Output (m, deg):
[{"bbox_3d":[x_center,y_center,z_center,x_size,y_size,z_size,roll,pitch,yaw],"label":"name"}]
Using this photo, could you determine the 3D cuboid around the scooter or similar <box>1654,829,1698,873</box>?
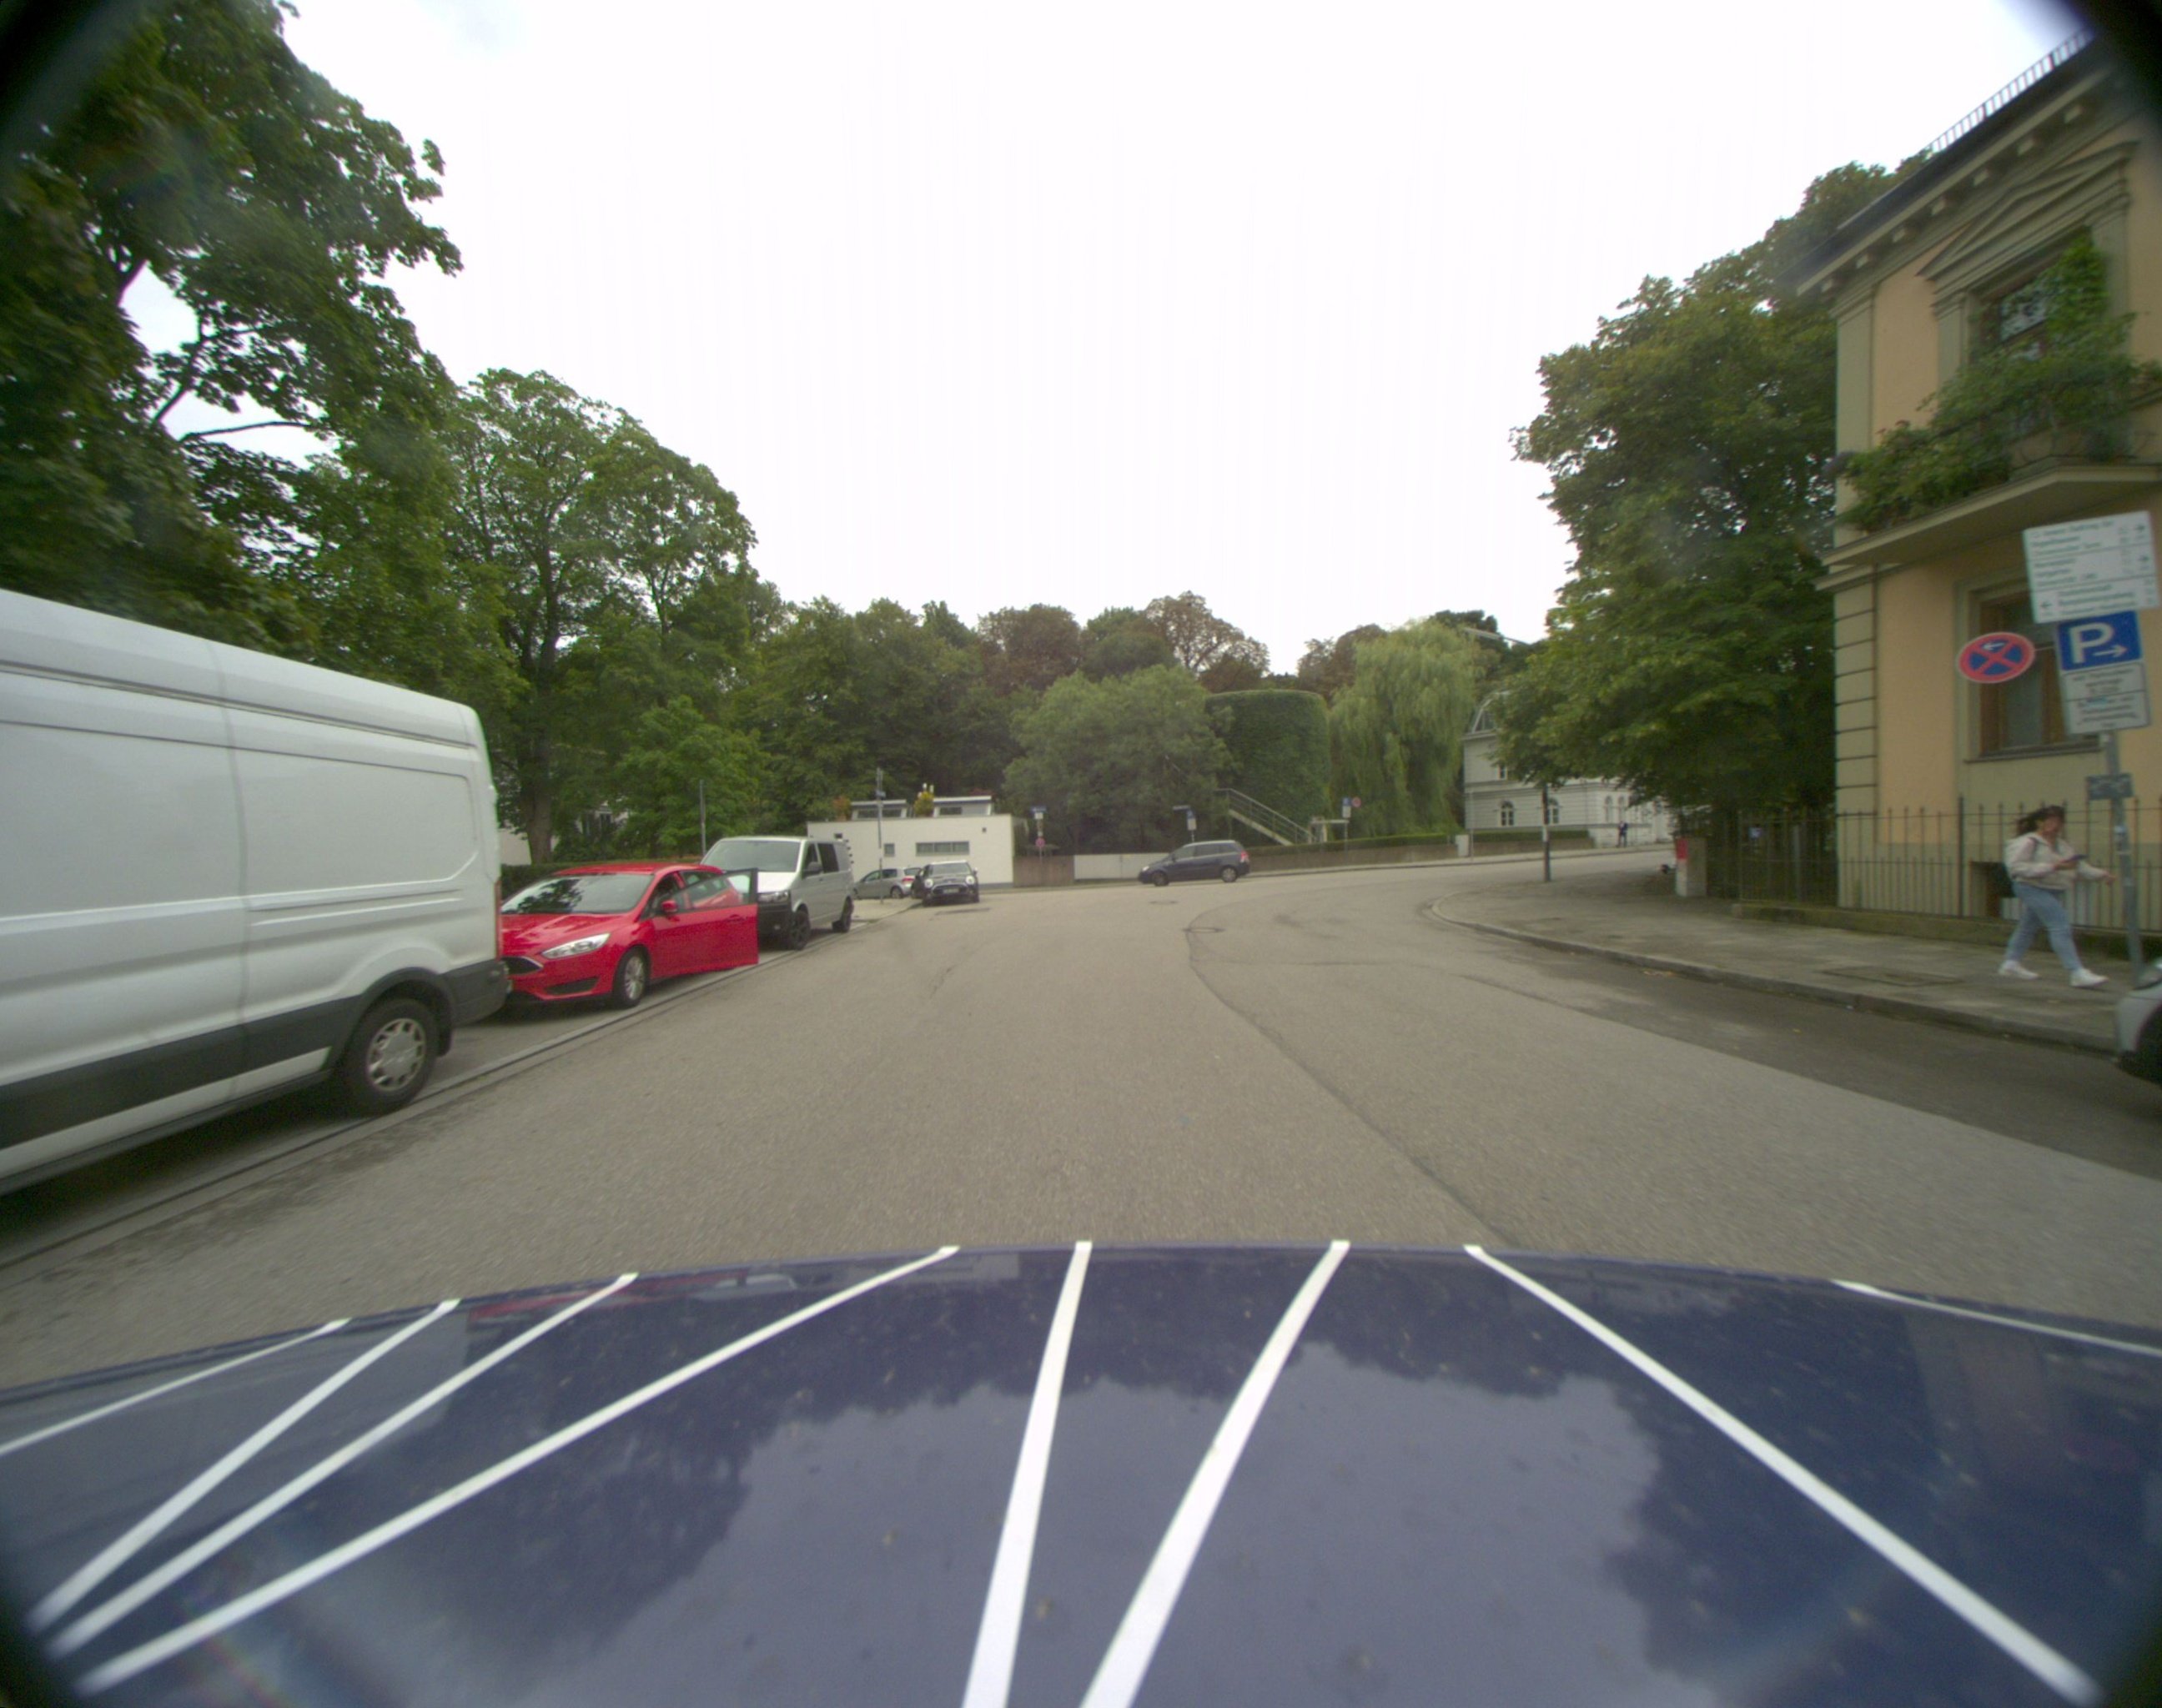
[{"bbox_3d":[17.088,-0.094,21.797,1.421,1.182,0.391,-3,-2,-30],"label":"scooter or similar"}]

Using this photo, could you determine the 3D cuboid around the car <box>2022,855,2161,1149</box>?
[{"bbox_3d":[6.677,0.808,2.296,1.941,1.526,4.529,0,1,-2],"label":"car"}]

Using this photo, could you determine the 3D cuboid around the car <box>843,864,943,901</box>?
[{"bbox_3d":[-8.310,1.252,33.546,4.005,1.437,1.945,-4,-2,31],"label":"car"}]

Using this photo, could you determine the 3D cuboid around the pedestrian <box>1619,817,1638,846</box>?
[{"bbox_3d":[33.047,-1.361,45.842,0.769,1.697,0.678,-4,5,-39],"label":"pedestrian"}]

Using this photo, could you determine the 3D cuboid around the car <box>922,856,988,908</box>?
[{"bbox_3d":[-4.210,0.885,25.380,1.898,1.438,4.266,-4,0,-10],"label":"car"}]

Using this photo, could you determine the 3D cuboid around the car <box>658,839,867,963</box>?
[{"bbox_3d":[-5.576,0.706,14.162,1.940,1.894,5.070,0,0,-2],"label":"car"}]

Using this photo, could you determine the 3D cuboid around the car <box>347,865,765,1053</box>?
[{"bbox_3d":[-5.480,0.935,8.930,1.876,1.498,4.835,0,0,-5],"label":"car"}]

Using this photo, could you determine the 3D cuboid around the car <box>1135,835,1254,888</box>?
[{"bbox_3d":[4.556,0.287,30.287,4.327,1.683,2.002,-6,0,16],"label":"car"}]

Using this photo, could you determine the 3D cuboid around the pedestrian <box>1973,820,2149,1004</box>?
[{"bbox_3d":[9.066,0.509,7.060,0.655,1.594,0.740,-3,1,2],"label":"pedestrian"}]

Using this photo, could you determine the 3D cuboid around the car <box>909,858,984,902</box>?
[{"bbox_3d":[-5.329,1.019,29.703,1.899,1.438,4.008,-5,0,-24],"label":"car"}]

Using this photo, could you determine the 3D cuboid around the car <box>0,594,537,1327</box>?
[{"bbox_3d":[-4.981,0.388,2.712,2.086,2.671,6.085,0,0,-5],"label":"car"}]
